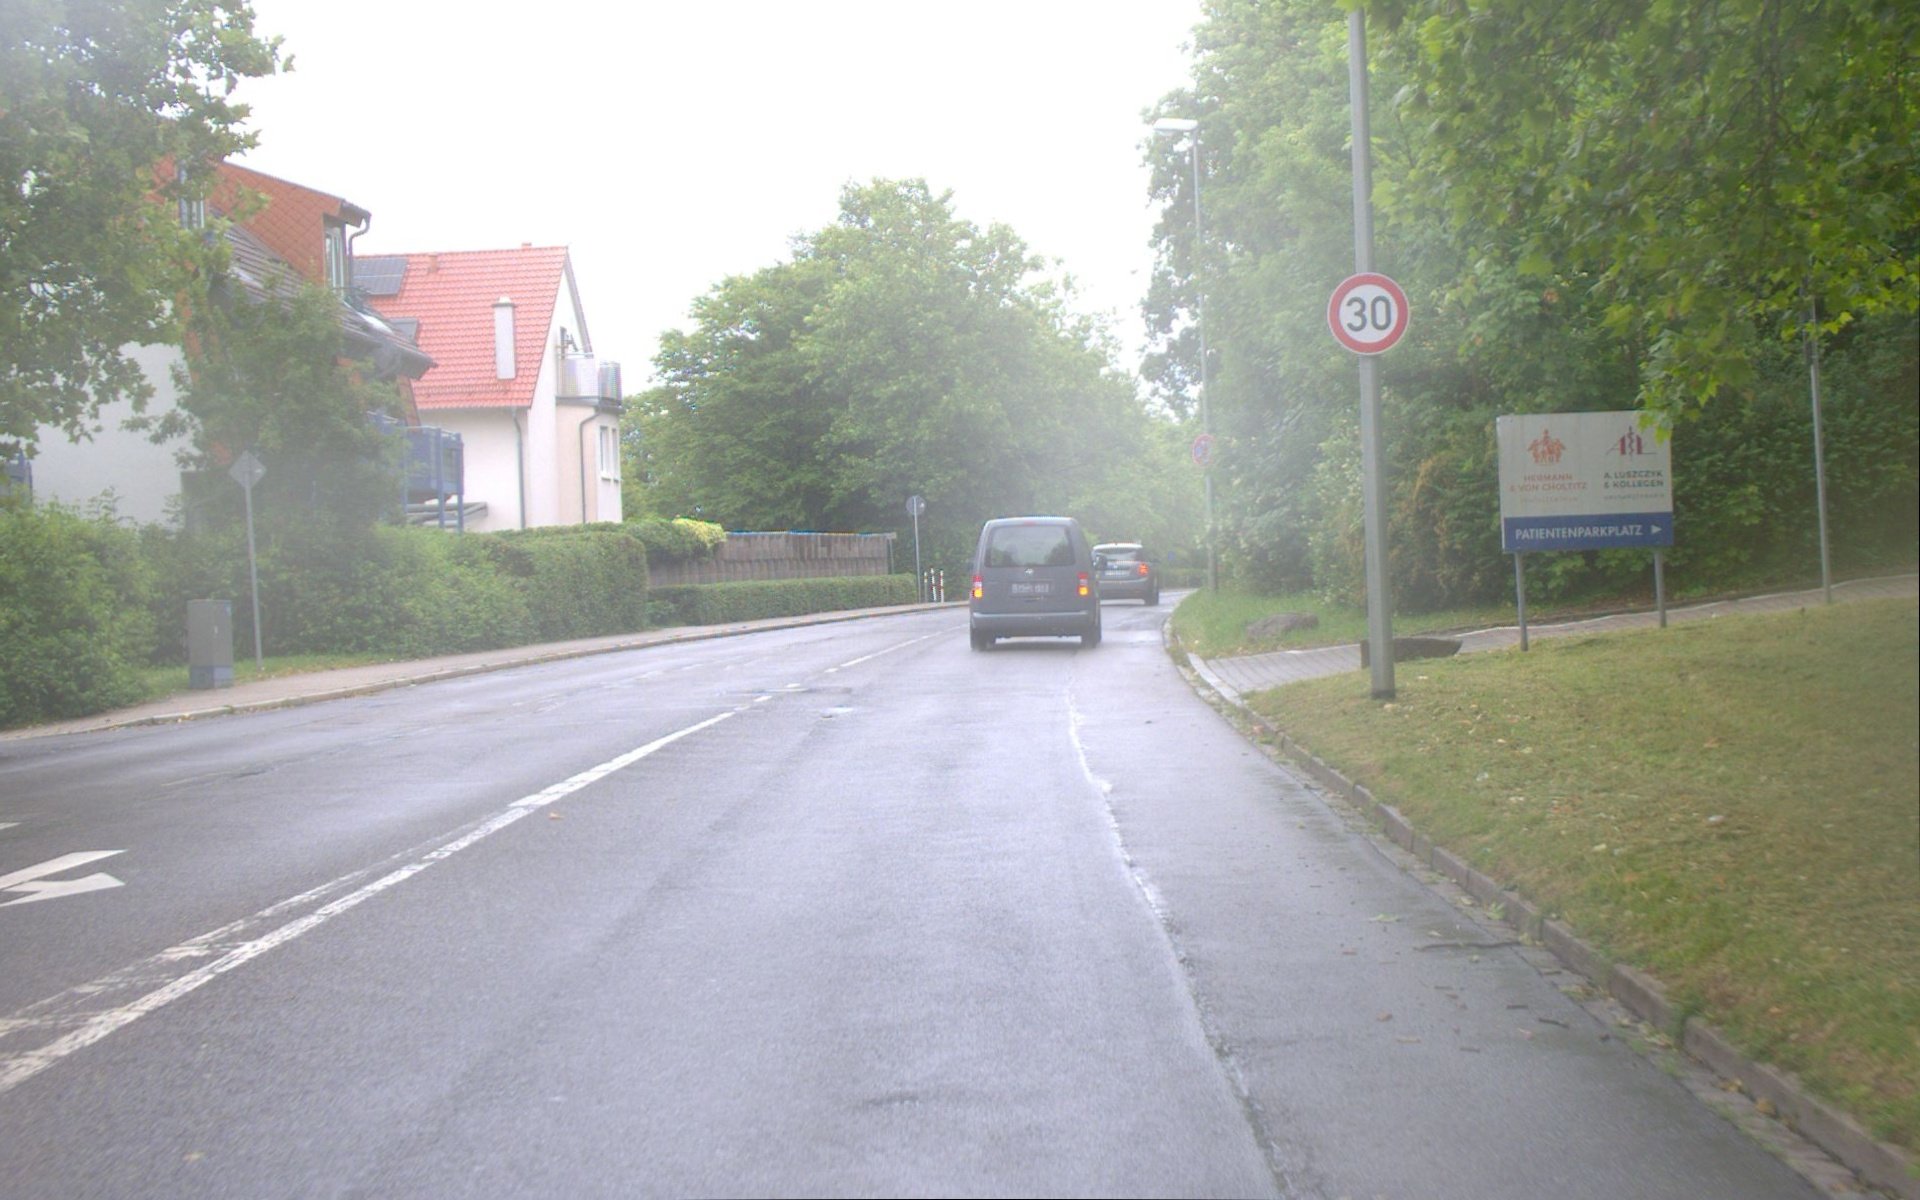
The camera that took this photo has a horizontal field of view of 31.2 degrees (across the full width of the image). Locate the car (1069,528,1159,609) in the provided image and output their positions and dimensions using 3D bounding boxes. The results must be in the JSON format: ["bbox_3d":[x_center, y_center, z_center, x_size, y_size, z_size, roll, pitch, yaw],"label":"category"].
[{"bbox_3d":[3.654,-0.769,81.041,1.950,1.744,4.000,-3,2,4],"label":"car"}]

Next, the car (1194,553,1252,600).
[{"bbox_3d":[10.022,-0.920,131.328,1.993,1.744,4.000,0,1,1],"label":"car"}]

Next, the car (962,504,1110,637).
[{"bbox_3d":[1.031,-0.451,48.489,1.993,1.787,4.000,0,2,0],"label":"car"}]
